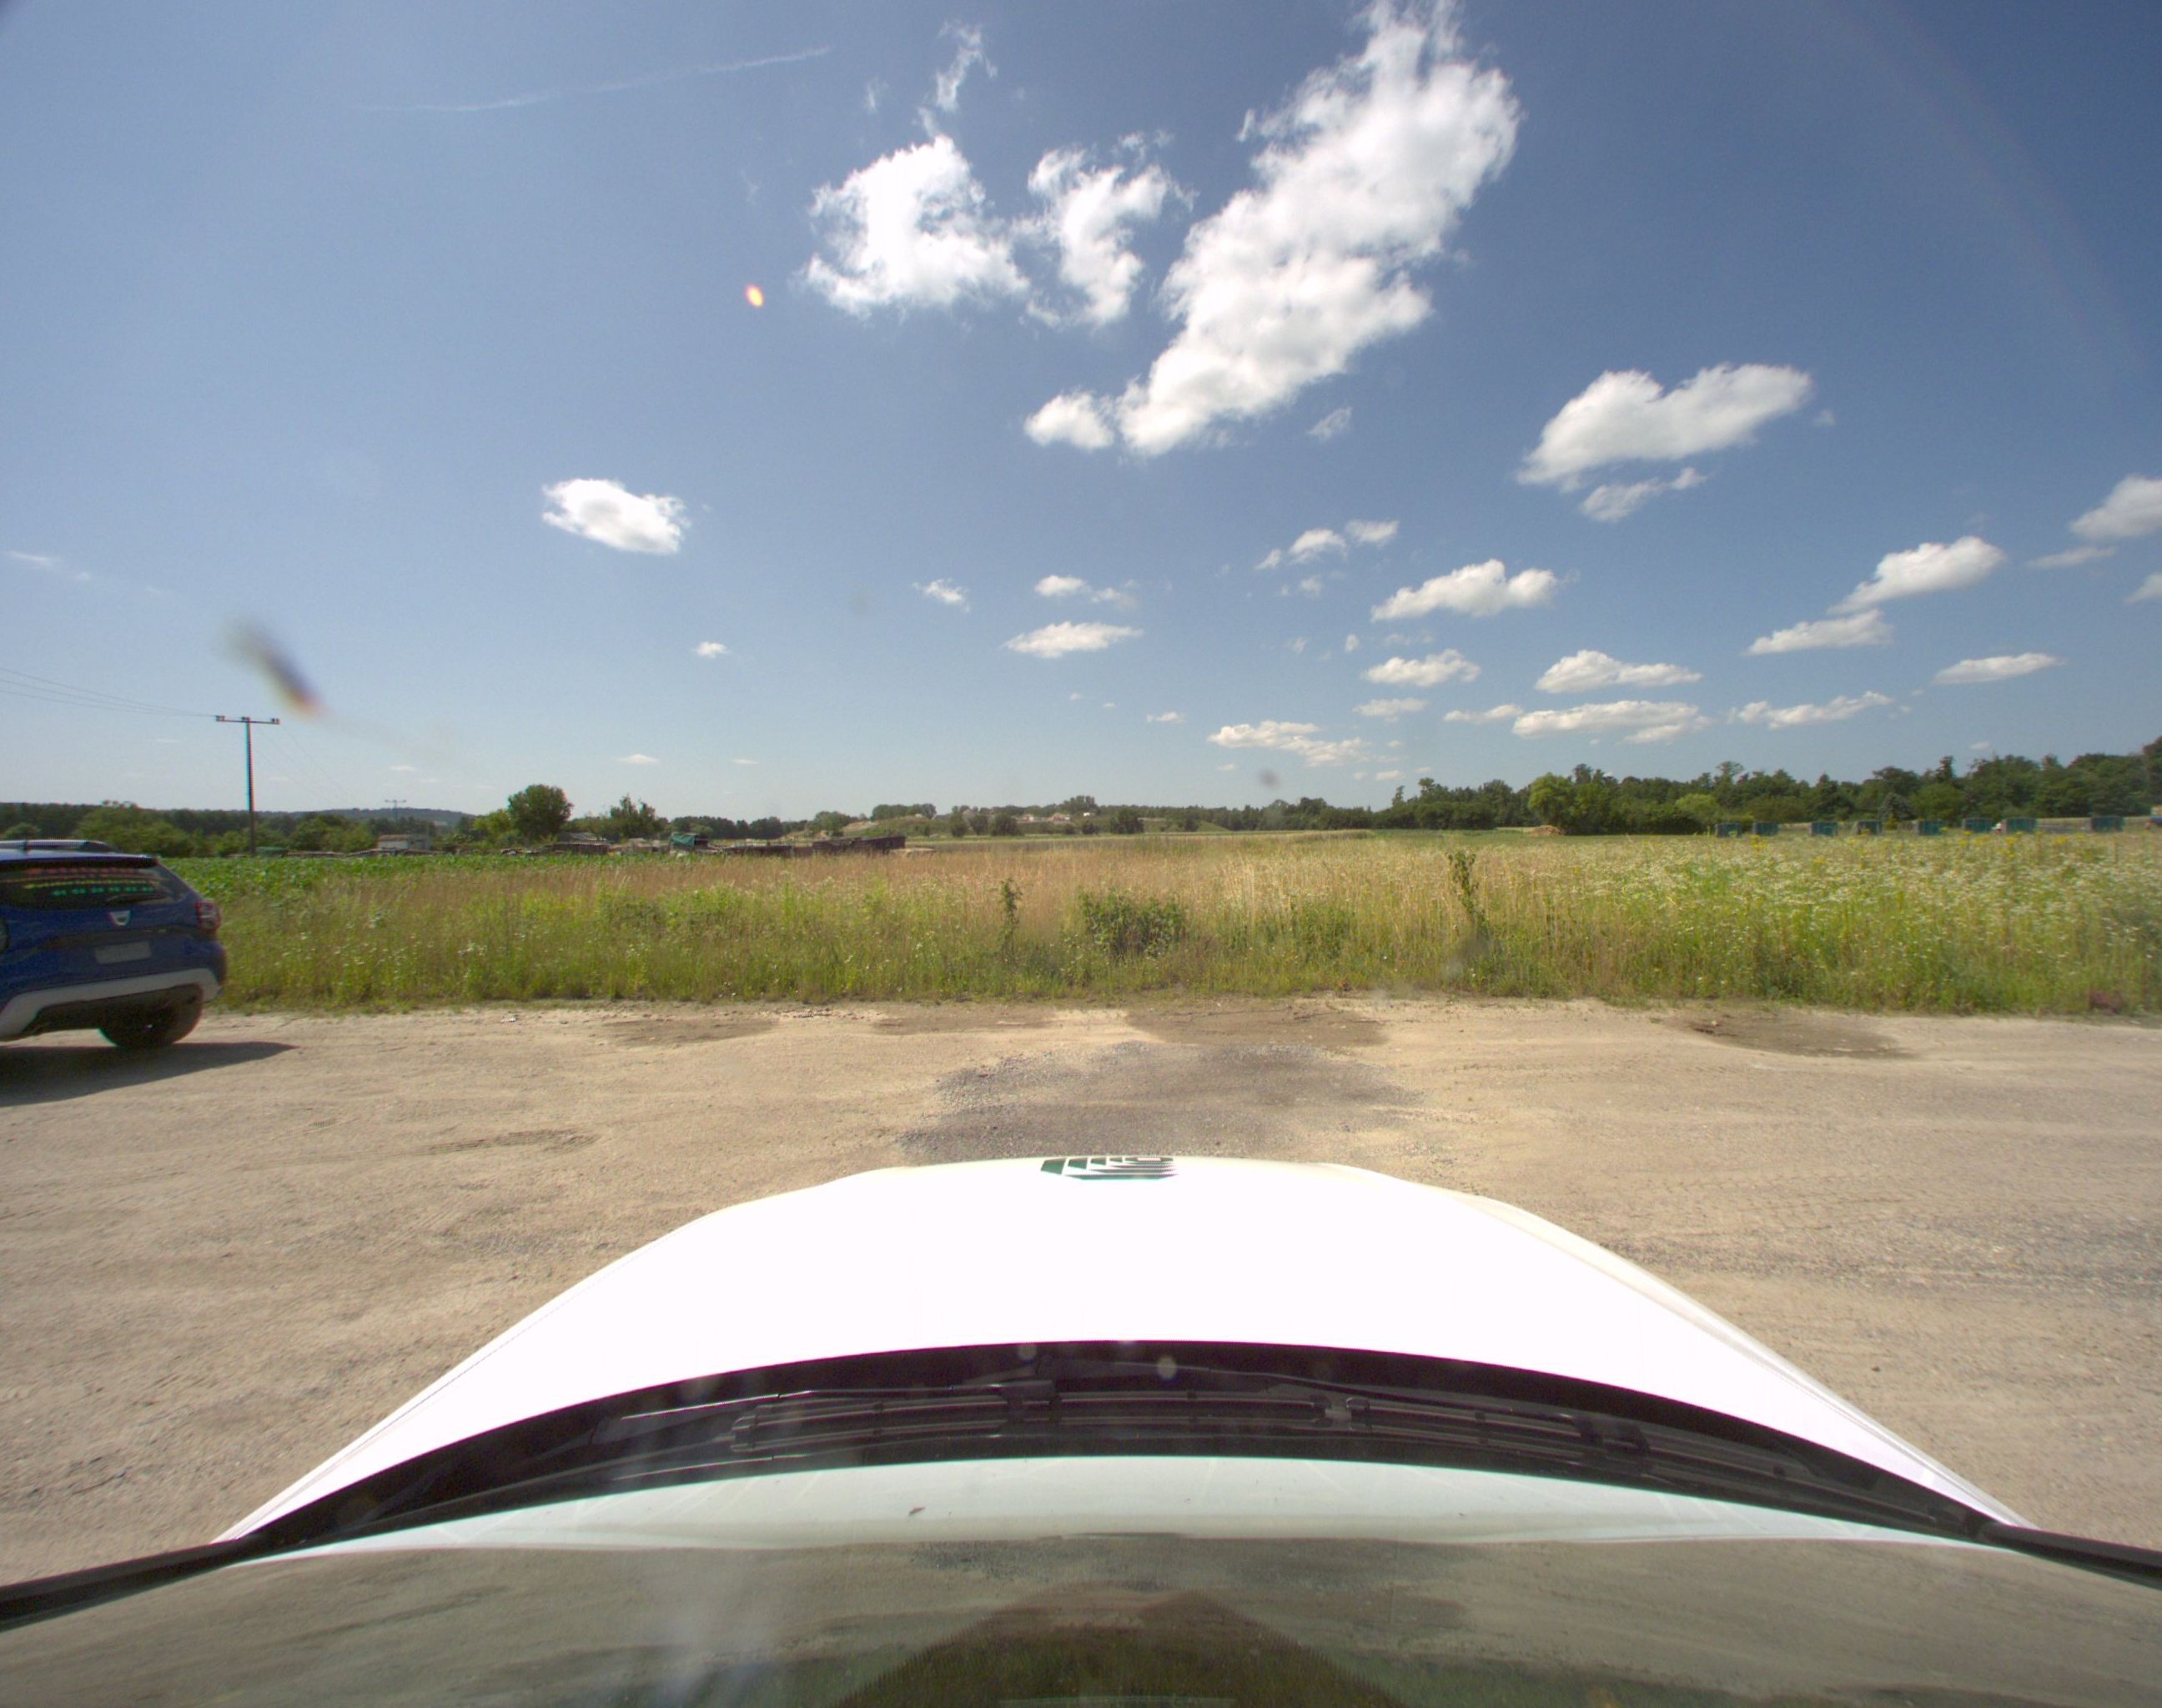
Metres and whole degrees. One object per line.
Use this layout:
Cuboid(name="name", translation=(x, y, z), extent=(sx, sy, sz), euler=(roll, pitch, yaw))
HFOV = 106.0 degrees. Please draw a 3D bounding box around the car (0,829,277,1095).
Cuboid(name="car", translation=(-8.955, 0.738, 5.857), extent=(4.428, 1.661, 1.865), euler=(-2, 0, 1))
